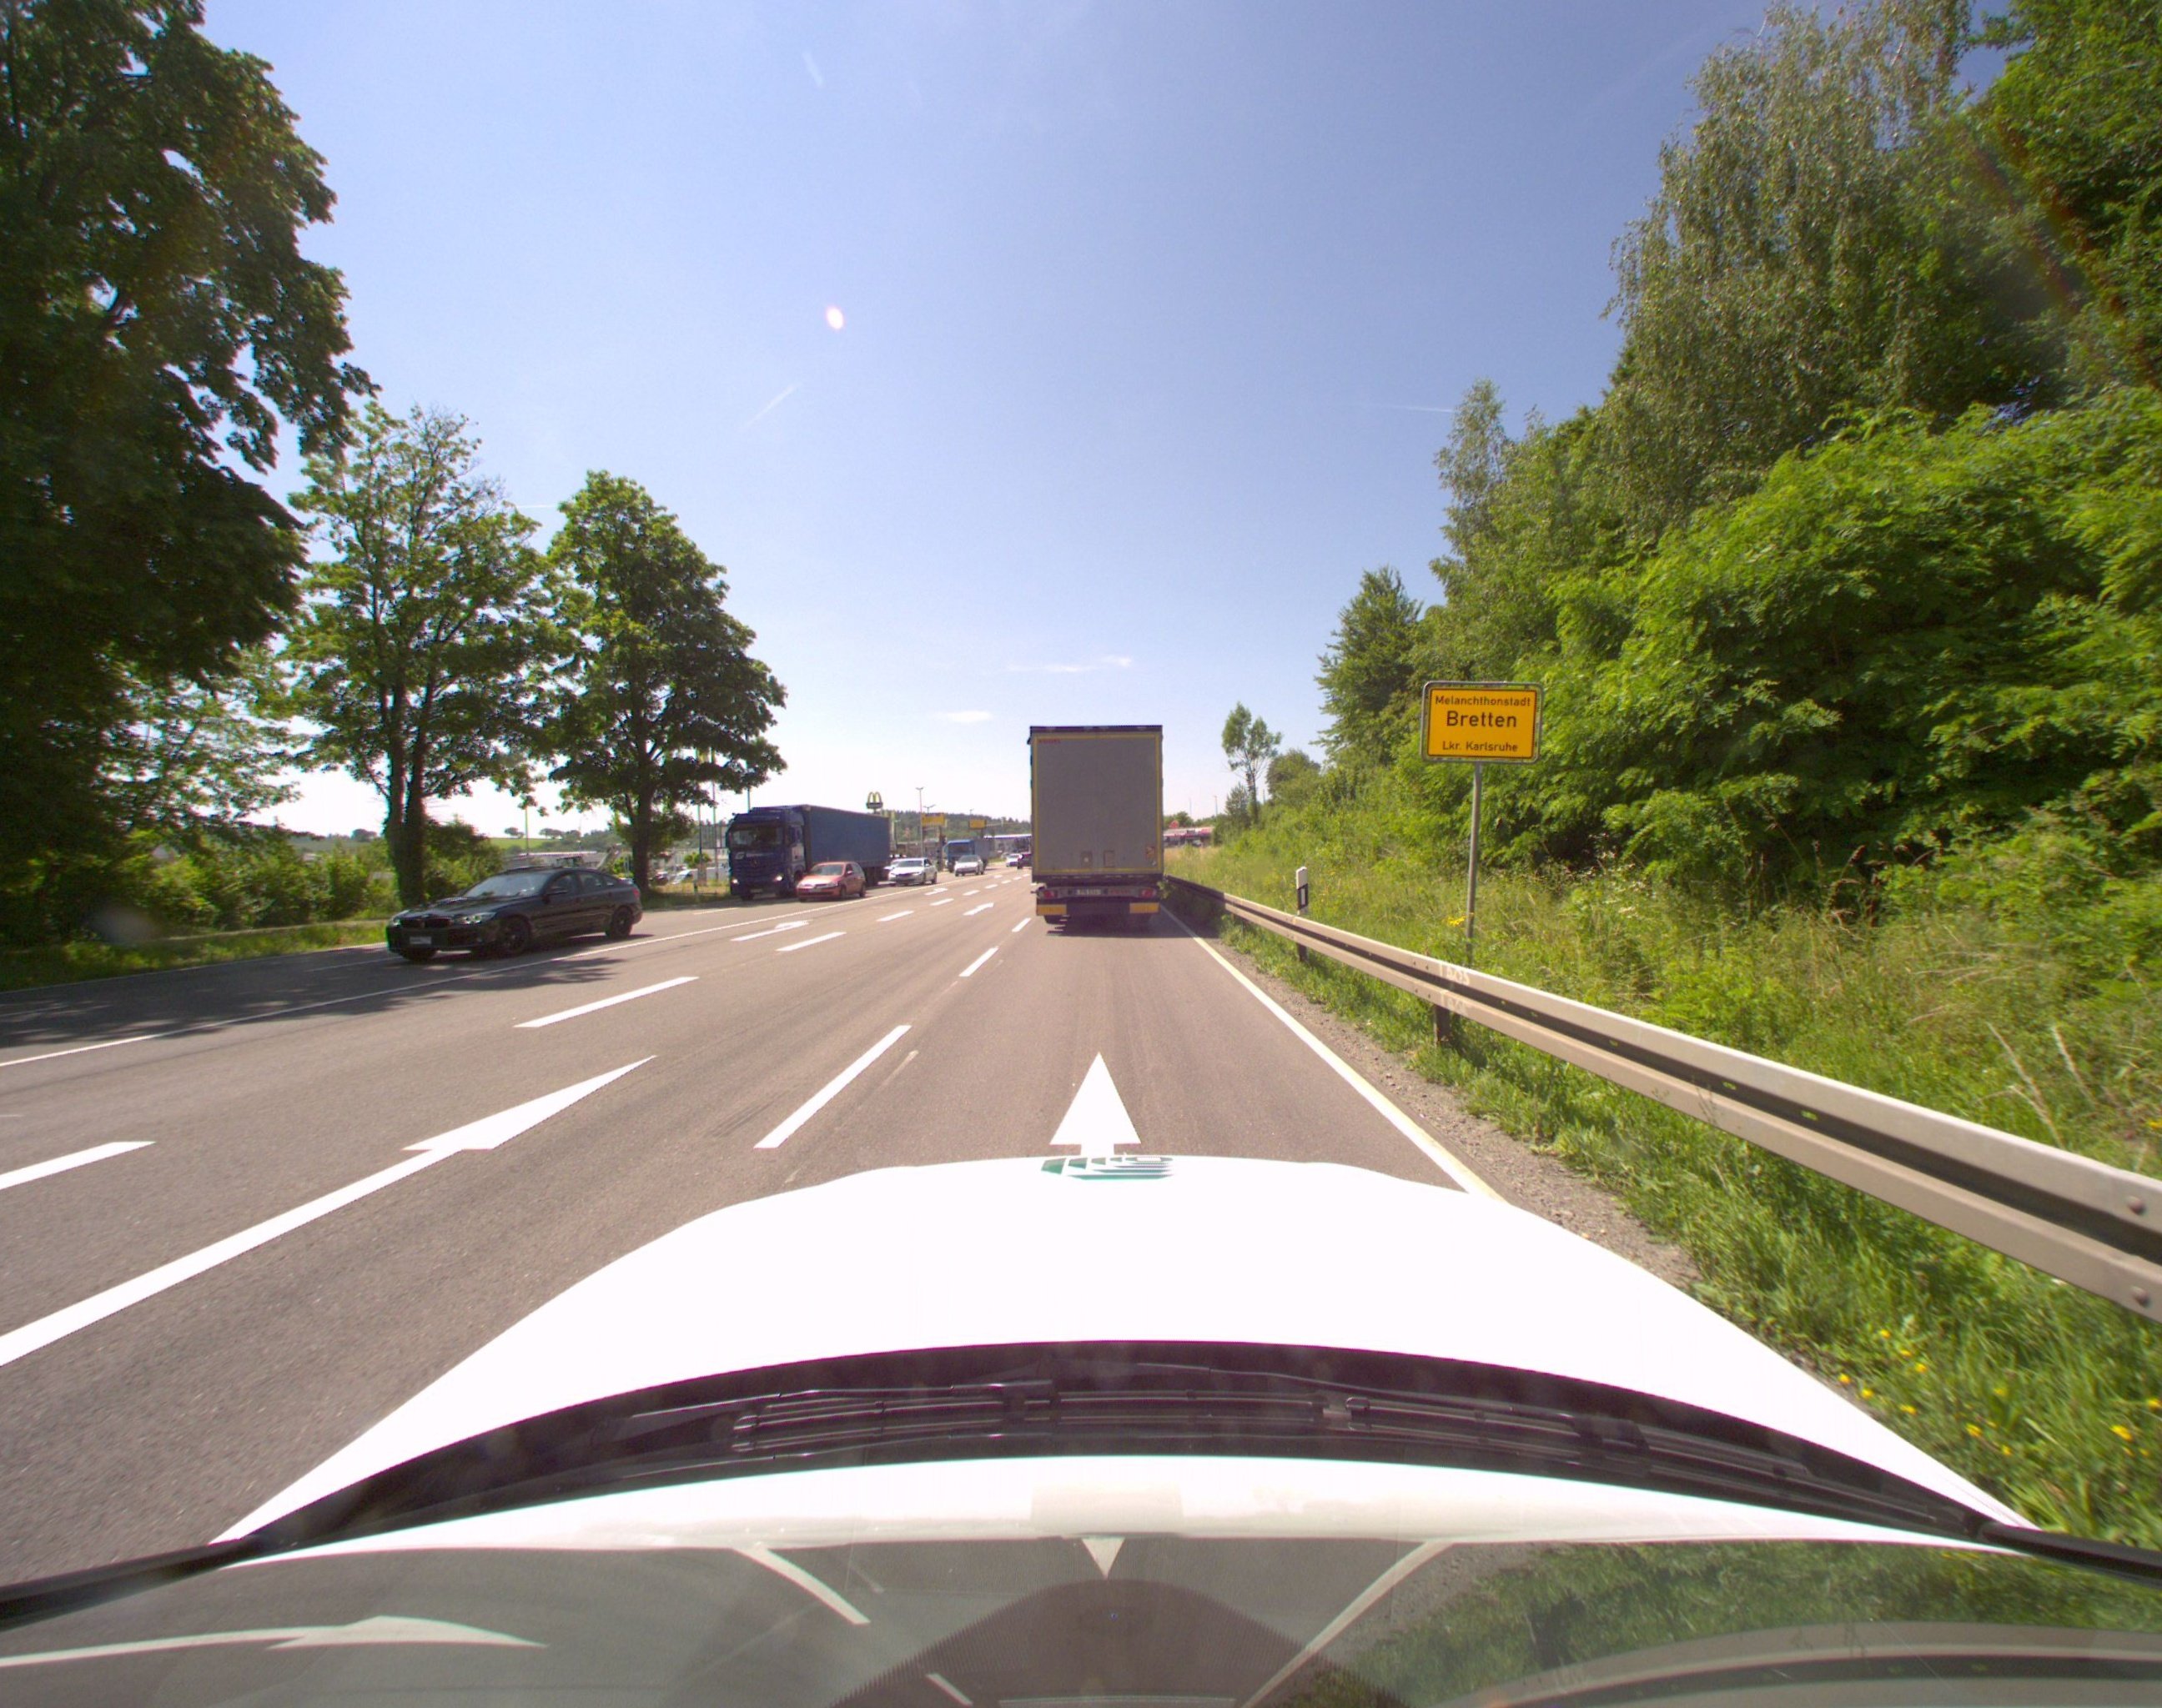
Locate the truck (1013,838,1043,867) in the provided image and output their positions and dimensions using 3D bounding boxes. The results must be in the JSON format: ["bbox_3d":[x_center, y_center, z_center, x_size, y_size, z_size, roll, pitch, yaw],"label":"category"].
[{"bbox_3d":[-8.584,-0.334,133.990,3.134,4.348,17.550,-3,0,2],"label":"truck"}]

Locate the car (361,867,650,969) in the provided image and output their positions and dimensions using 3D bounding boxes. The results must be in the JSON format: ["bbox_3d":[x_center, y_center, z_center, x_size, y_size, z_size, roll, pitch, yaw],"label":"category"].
[{"bbox_3d":[-10.084,1.018,14.860,1.912,1.481,4.686,-2,-1,0],"label":"car"}]

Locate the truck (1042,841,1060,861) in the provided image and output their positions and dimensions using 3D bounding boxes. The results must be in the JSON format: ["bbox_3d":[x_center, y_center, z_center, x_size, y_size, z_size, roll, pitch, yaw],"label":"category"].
[{"bbox_3d":[-6.259,-0.675,173.900,2.924,3.950,14.239,-2,0,1],"label":"truck"}]

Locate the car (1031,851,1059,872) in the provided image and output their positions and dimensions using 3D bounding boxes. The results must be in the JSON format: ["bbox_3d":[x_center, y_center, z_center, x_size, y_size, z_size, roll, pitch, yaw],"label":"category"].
[{"bbox_3d":[-2.954,0.572,67.631,1.797,1.670,4.295,-1,0,3],"label":"car"}]

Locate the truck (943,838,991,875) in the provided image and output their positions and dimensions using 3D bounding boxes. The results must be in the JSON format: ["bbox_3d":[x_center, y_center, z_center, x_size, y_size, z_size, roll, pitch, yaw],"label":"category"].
[{"bbox_3d":[-11.436,0.242,82.755,2.836,3.351,11.485,-2,0,1],"label":"truck"}]

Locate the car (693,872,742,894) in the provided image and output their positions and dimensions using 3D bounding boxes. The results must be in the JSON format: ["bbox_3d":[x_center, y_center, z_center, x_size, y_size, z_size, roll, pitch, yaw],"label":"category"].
[{"bbox_3d":[-28.538,2.281,63.884,3.948,1.618,1.852,-2,0,39],"label":"car"}]

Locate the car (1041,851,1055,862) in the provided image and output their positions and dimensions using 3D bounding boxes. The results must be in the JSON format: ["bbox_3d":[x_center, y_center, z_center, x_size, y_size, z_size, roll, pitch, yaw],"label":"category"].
[{"bbox_3d":[-5.198,0.438,128.565,1.734,1.503,4.408,-4,-1,2],"label":"car"}]

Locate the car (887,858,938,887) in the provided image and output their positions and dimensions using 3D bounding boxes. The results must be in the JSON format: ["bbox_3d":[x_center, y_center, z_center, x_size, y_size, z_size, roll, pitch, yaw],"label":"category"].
[{"bbox_3d":[-9.027,0.956,43.898,1.694,1.415,4.562,-2,0,0],"label":"car"}]

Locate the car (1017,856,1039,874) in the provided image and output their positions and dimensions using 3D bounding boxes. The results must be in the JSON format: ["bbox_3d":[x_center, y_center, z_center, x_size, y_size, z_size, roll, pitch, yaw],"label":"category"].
[{"bbox_3d":[-5.120,1.015,79.579,1.788,1.627,4.369,-2,0,0],"label":"car"}]

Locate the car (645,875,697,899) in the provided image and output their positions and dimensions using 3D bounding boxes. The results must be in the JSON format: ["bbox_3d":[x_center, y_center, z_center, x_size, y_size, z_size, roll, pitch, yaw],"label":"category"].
[{"bbox_3d":[-30.666,2.443,60.859,3.948,1.651,2.013,-2,0,39],"label":"car"}]

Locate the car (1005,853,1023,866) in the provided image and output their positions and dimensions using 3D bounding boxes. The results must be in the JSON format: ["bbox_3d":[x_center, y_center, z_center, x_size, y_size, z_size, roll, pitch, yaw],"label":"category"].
[{"bbox_3d":[-7.786,0.641,94.779,1.783,1.426,4.262,-1,0,0],"label":"car"}]

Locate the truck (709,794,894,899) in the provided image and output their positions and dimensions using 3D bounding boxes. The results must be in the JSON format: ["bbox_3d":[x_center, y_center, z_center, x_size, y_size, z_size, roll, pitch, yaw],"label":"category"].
[{"bbox_3d":[-13.262,-0.299,41.383,2.956,4.176,16.583,-2,0,2],"label":"truck"}]

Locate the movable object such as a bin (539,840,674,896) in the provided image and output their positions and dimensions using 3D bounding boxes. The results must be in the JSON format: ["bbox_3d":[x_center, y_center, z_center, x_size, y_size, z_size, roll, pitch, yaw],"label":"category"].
[{"bbox_3d":[-30.560,0.840,52.666,3.014,3.298,6.834,-2,0,42],"label":"movable object such as a bin"}]

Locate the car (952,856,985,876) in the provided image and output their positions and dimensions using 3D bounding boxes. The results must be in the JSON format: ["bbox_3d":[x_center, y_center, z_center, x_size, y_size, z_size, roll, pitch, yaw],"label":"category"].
[{"bbox_3d":[-8.686,0.908,63.017,1.754,1.428,4.182,-2,0,2],"label":"car"}]

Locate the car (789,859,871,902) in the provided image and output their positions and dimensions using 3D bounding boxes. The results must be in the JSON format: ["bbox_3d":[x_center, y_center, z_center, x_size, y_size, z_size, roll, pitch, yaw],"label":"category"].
[{"bbox_3d":[-9.387,0.960,30.745,1.760,1.445,3.777,-2,0,2],"label":"car"}]

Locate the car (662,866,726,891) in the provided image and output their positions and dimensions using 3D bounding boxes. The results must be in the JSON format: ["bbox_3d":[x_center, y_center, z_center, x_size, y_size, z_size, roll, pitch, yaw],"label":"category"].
[{"bbox_3d":[-37.531,2.366,79.088,1.974,2.183,5.226,-2,0,39],"label":"car"}]

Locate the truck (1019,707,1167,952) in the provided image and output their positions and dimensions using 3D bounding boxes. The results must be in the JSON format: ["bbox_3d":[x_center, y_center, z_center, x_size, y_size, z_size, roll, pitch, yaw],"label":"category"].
[{"bbox_3d":[0.363,-0.365,23.884,2.746,4.639,16.656,-1,-1,1],"label":"truck"}]
